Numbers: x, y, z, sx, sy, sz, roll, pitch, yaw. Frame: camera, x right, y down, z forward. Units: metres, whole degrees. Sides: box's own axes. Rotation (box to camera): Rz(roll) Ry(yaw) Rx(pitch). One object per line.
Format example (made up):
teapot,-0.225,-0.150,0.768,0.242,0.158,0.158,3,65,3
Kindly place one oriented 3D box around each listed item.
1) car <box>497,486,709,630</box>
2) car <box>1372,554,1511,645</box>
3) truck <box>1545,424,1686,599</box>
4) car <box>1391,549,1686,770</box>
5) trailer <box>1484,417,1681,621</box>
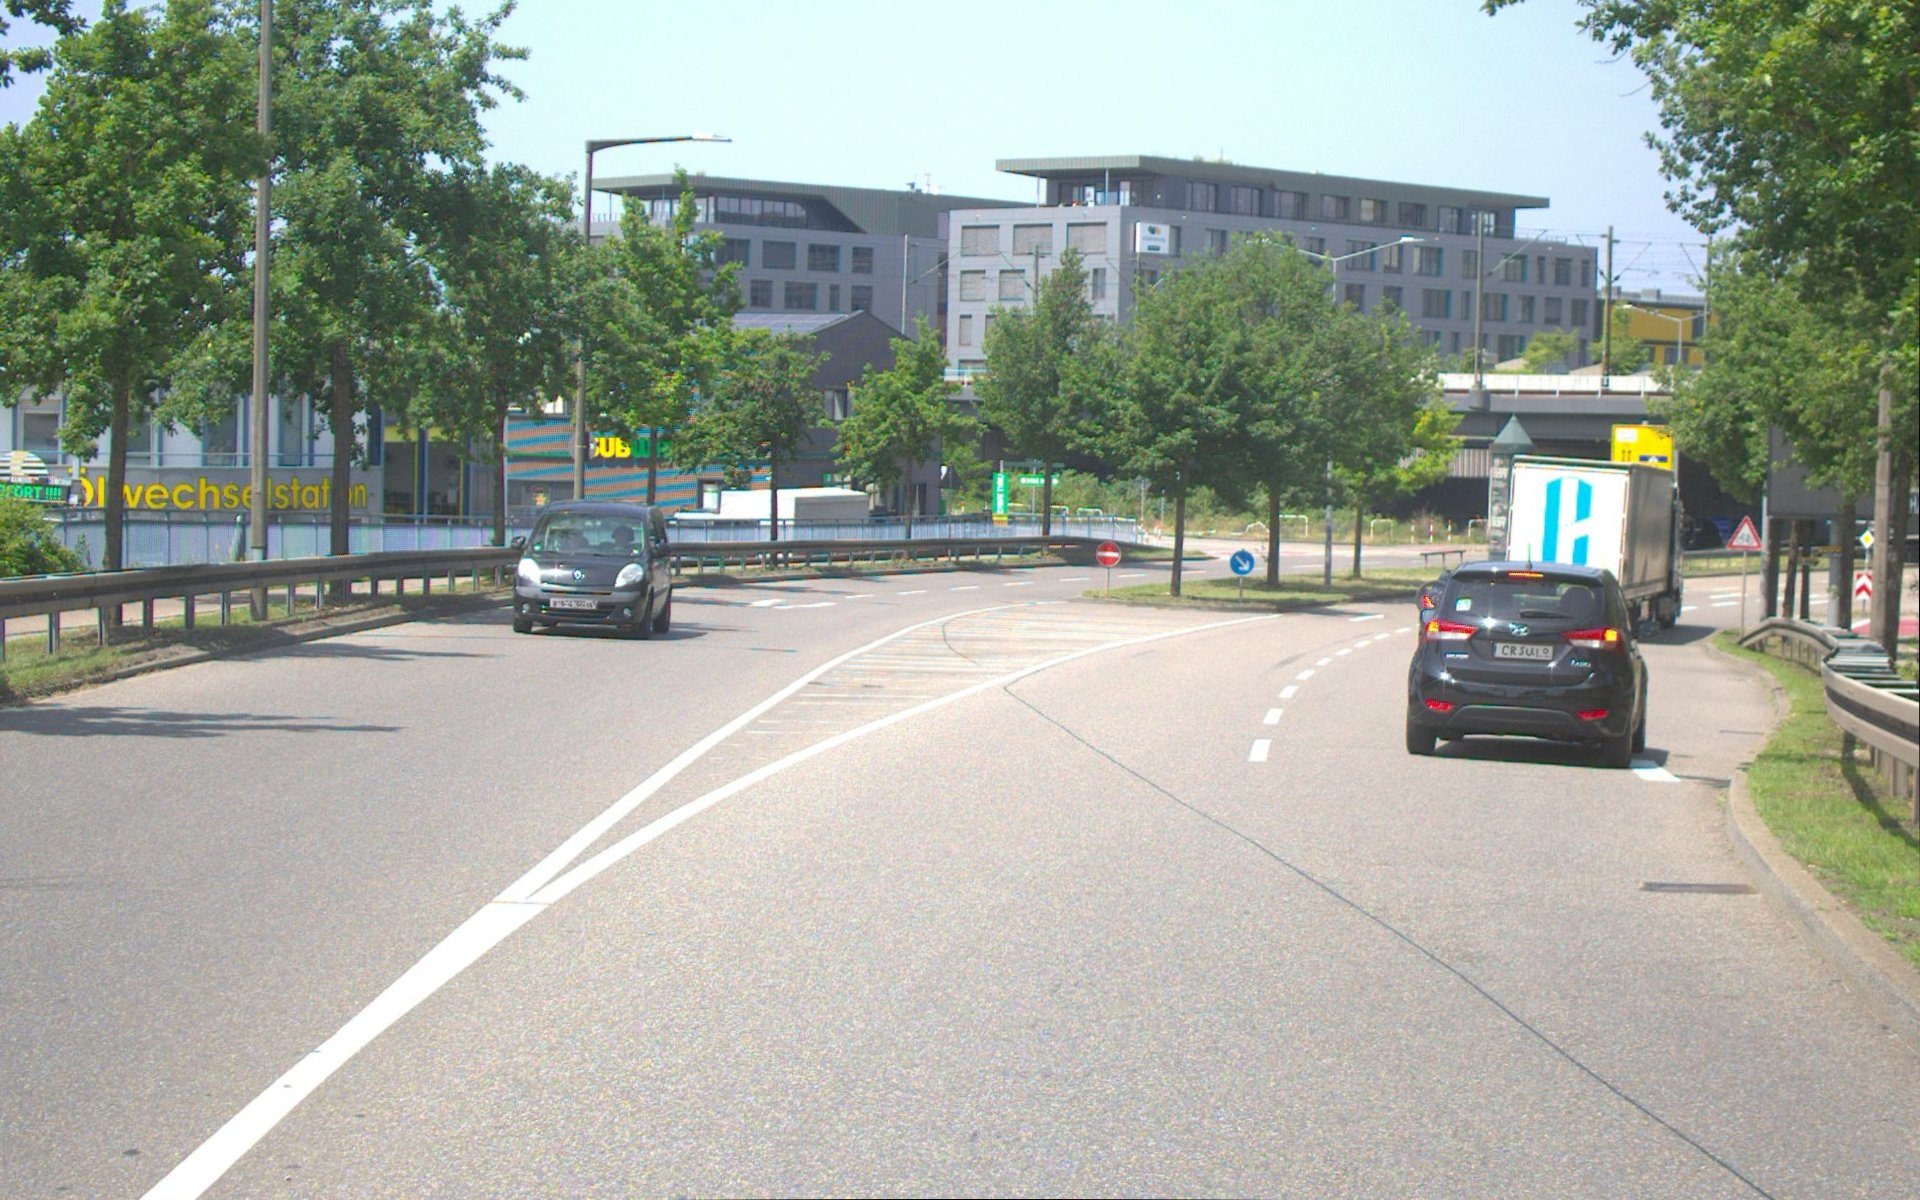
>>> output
car,-4.704,-0.573,45.927,1.807,1.753,4.251,3,1,7
car,9.121,-0.042,64.915,1.958,1.628,4.277,1,1,16
truck,17.209,-2.366,90.004,3.078,4.353,6.075,2,3,15
car,4.841,0.449,28.338,1.769,1.593,4.074,3,1,18
trailer,15.069,-2.052,82.185,3.080,4.353,14.764,2,3,16
